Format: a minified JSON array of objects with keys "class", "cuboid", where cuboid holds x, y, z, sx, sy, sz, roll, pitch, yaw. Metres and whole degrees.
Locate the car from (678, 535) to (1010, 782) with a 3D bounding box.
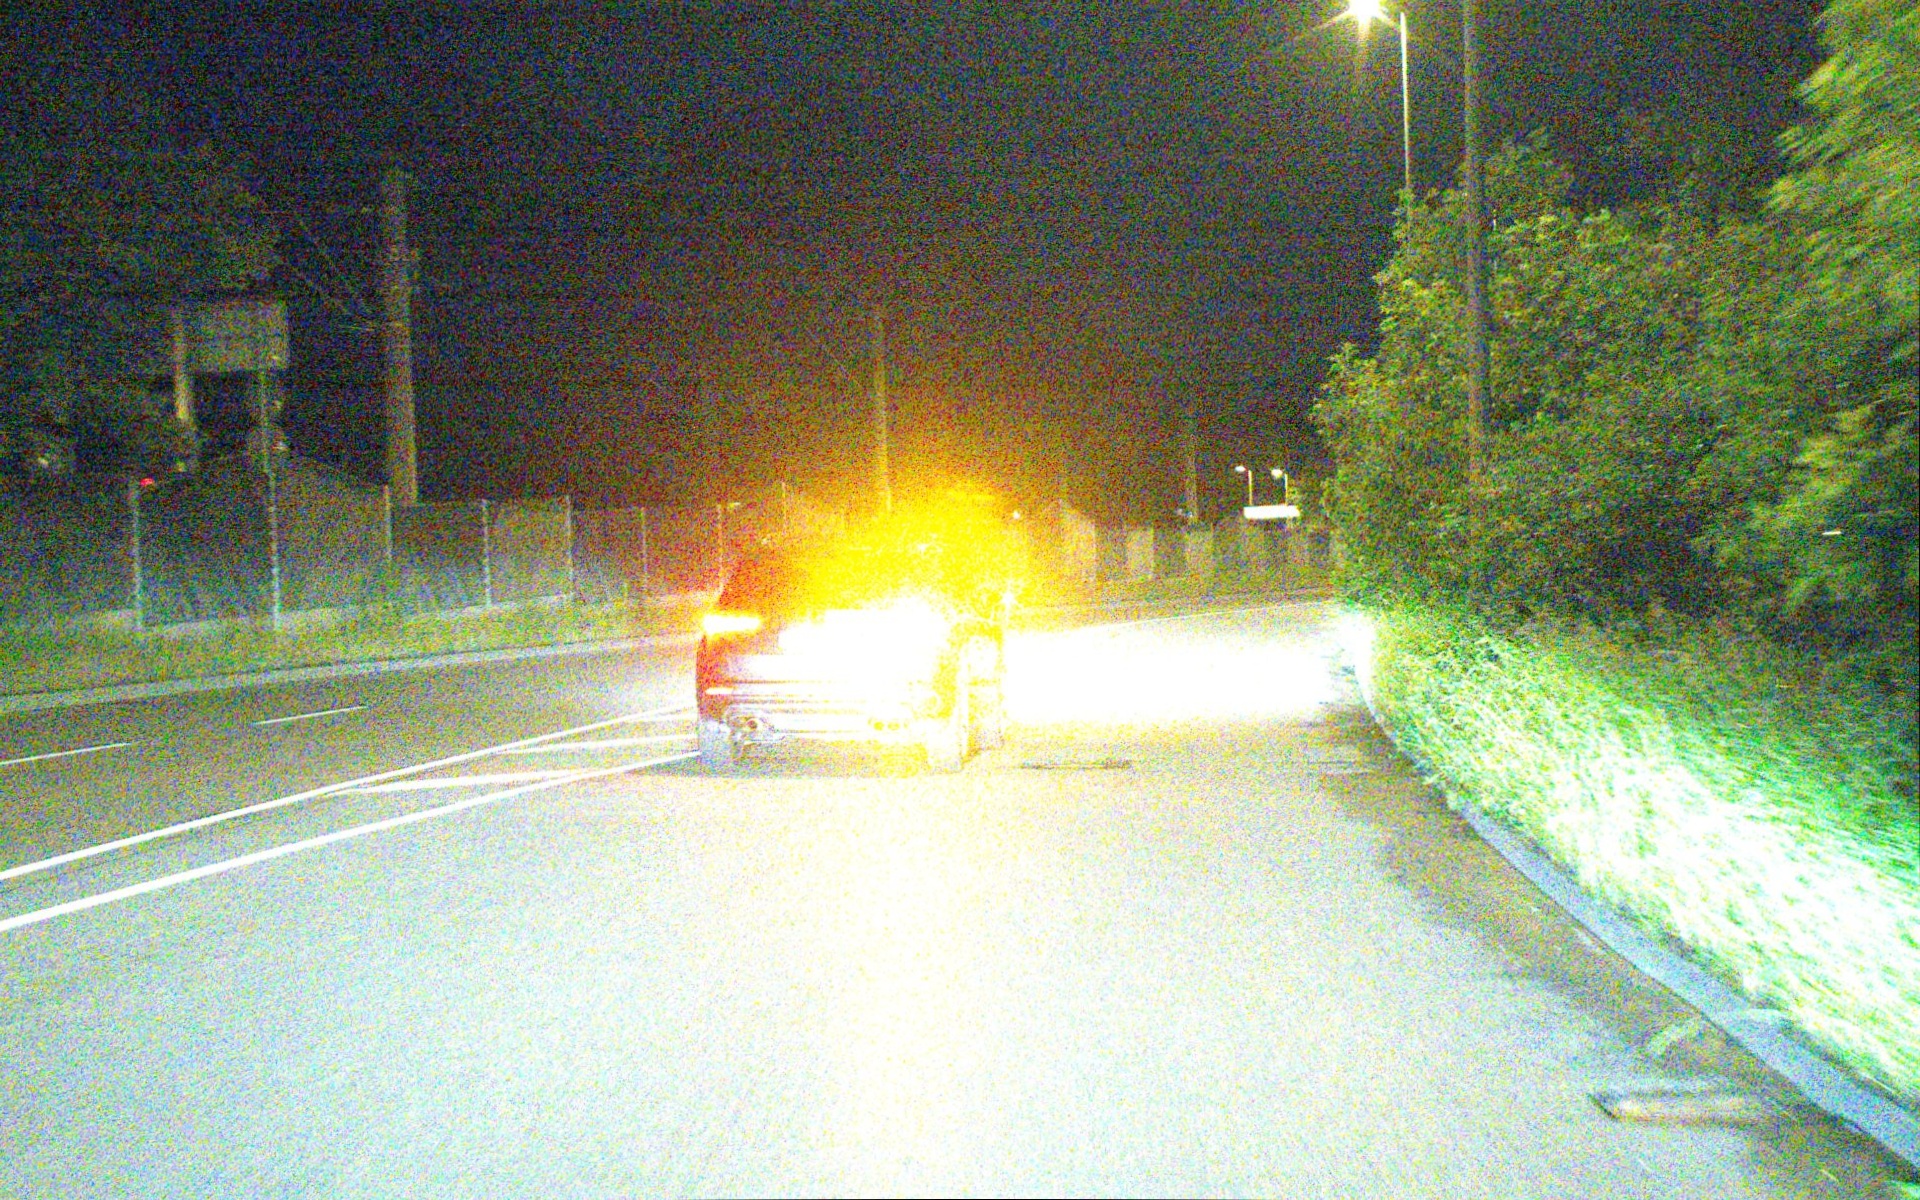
[{"class":"car","cuboid":[-0.729,0.343,24.272,1.815,1.568,3.943,1,1,6]}]
